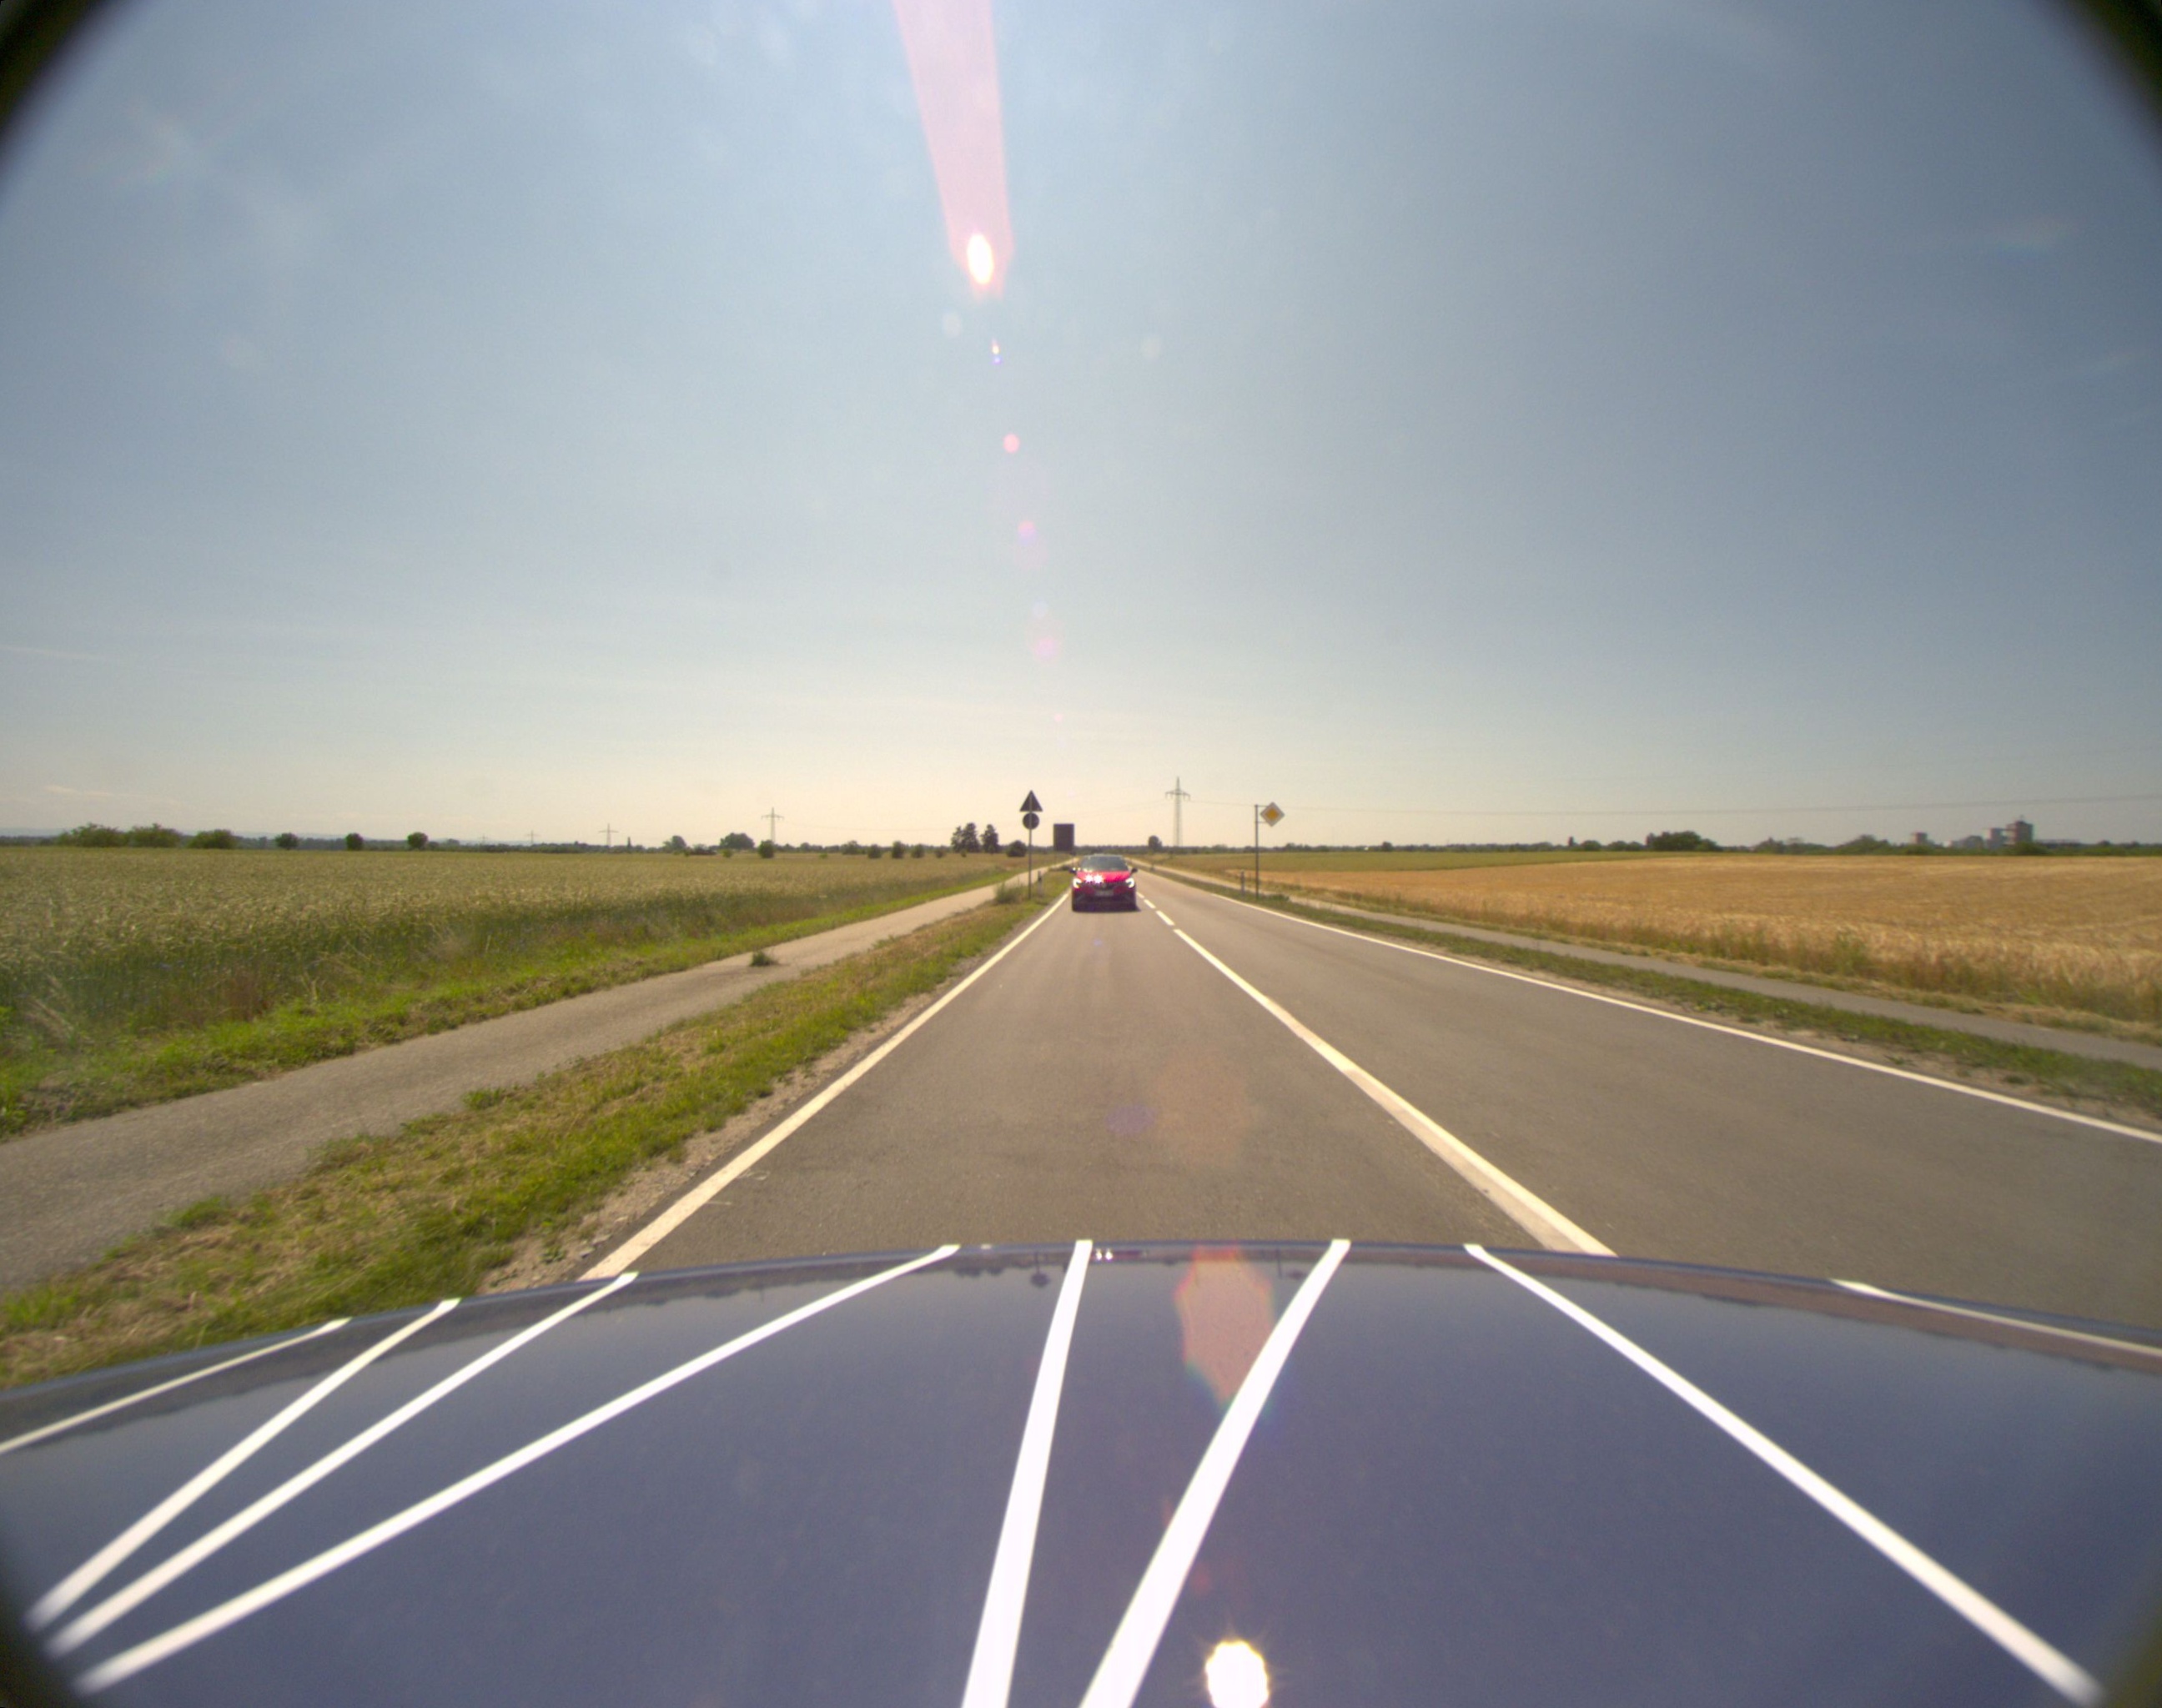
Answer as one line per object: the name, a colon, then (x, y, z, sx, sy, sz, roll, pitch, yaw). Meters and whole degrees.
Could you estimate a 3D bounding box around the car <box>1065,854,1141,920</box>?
car: (0.569, 0.827, 21.080, 1.827, 1.543, 4.449, -2, 1, 1)
